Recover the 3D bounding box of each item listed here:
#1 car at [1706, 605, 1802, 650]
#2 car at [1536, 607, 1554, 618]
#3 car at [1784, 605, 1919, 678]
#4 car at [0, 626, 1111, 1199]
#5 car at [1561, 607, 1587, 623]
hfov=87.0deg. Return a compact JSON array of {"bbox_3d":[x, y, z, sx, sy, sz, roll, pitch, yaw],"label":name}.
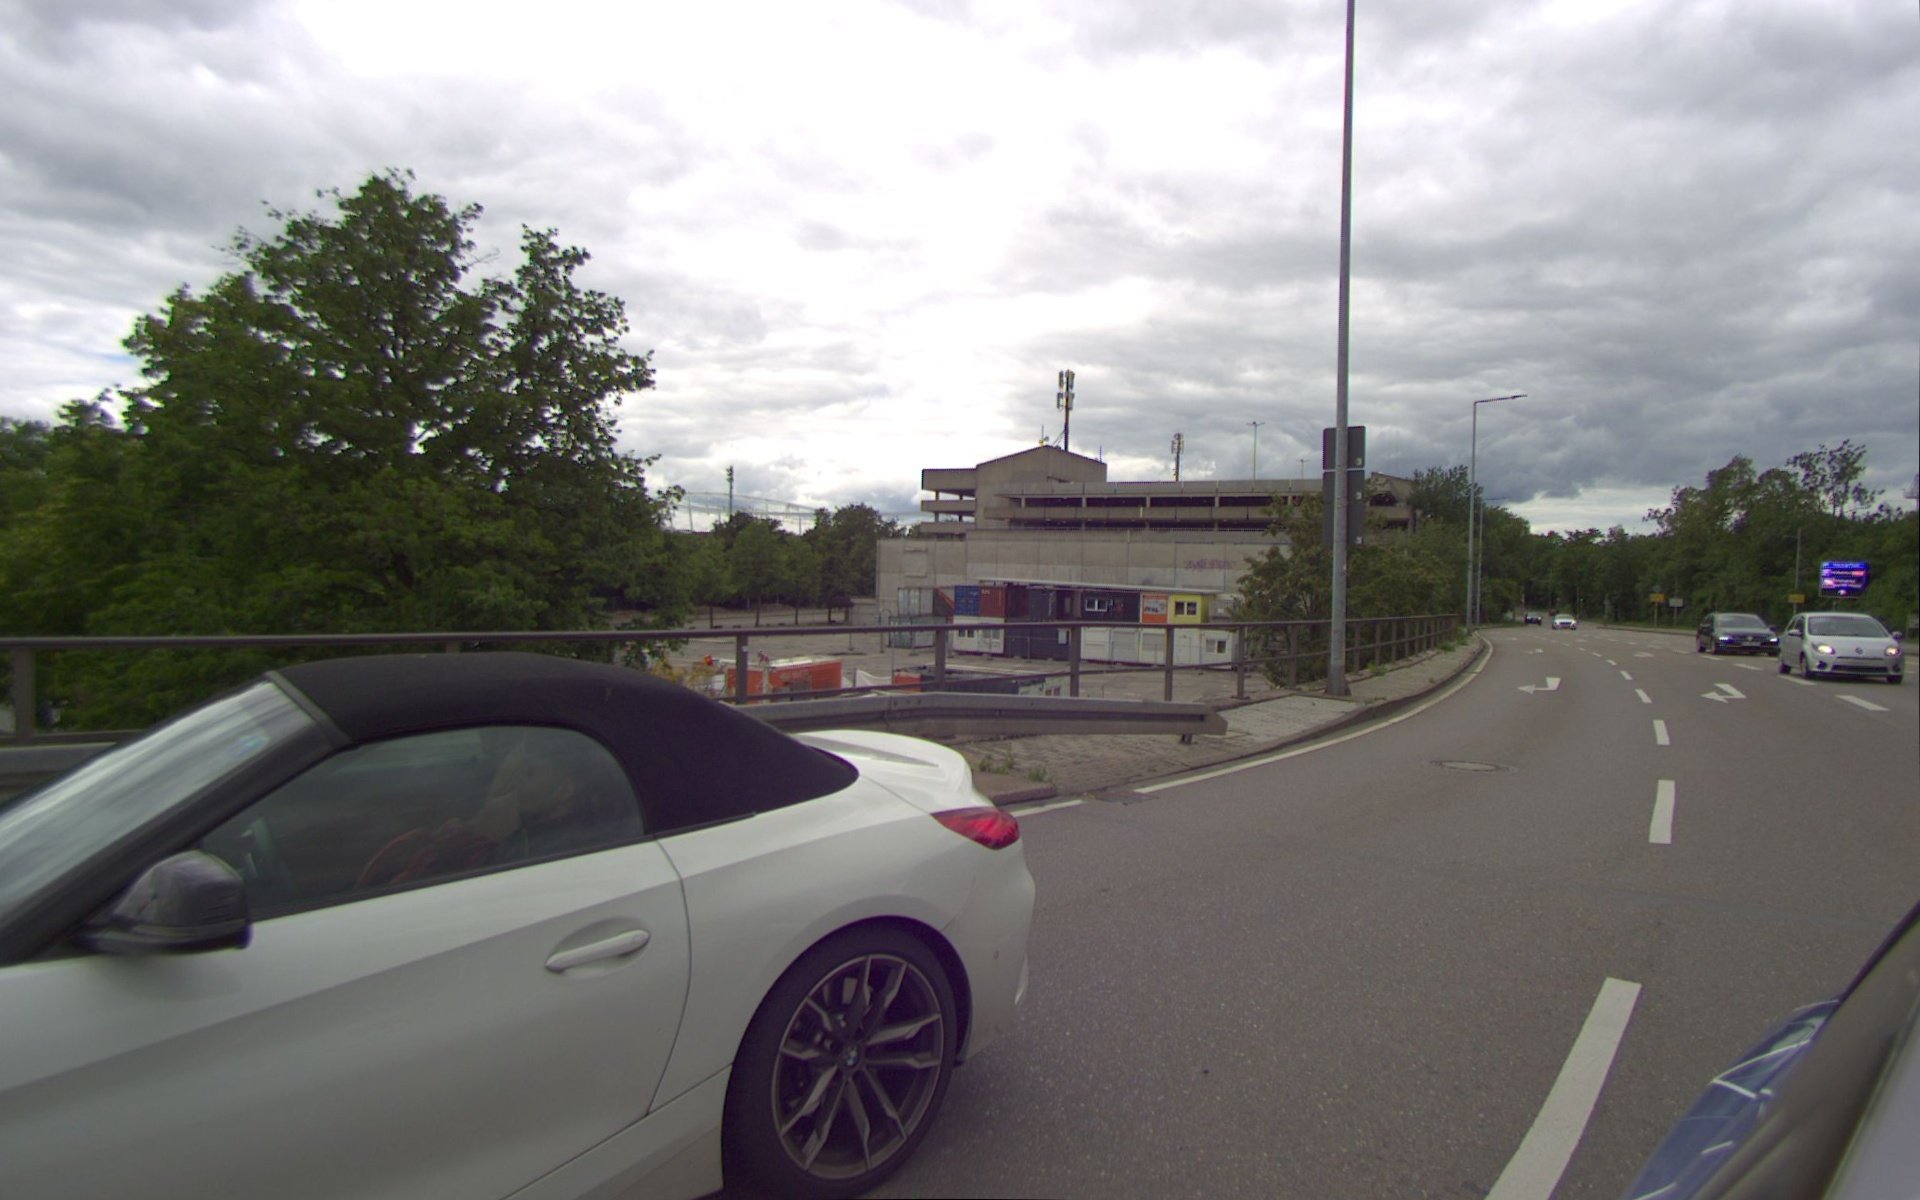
[{"bbox_3d":[27.232,0.888,34.840,1.849,1.434,4.295,1,0,28],"label":"car"},{"bbox_3d":[78.830,1.642,136.457,1.848,1.434,4.297,1,0,27],"label":"car"},{"bbox_3d":[19.488,0.839,22.248,1.597,1.434,3.552,1,0,31],"label":"car"},{"bbox_3d":[-1.737,0.771,2.378,4.186,1.308,1.809,0,0,-39],"label":"car"},{"bbox_3d":[57.852,1.378,95.357,1.849,1.434,4.295,1,0,28],"label":"car"}]
